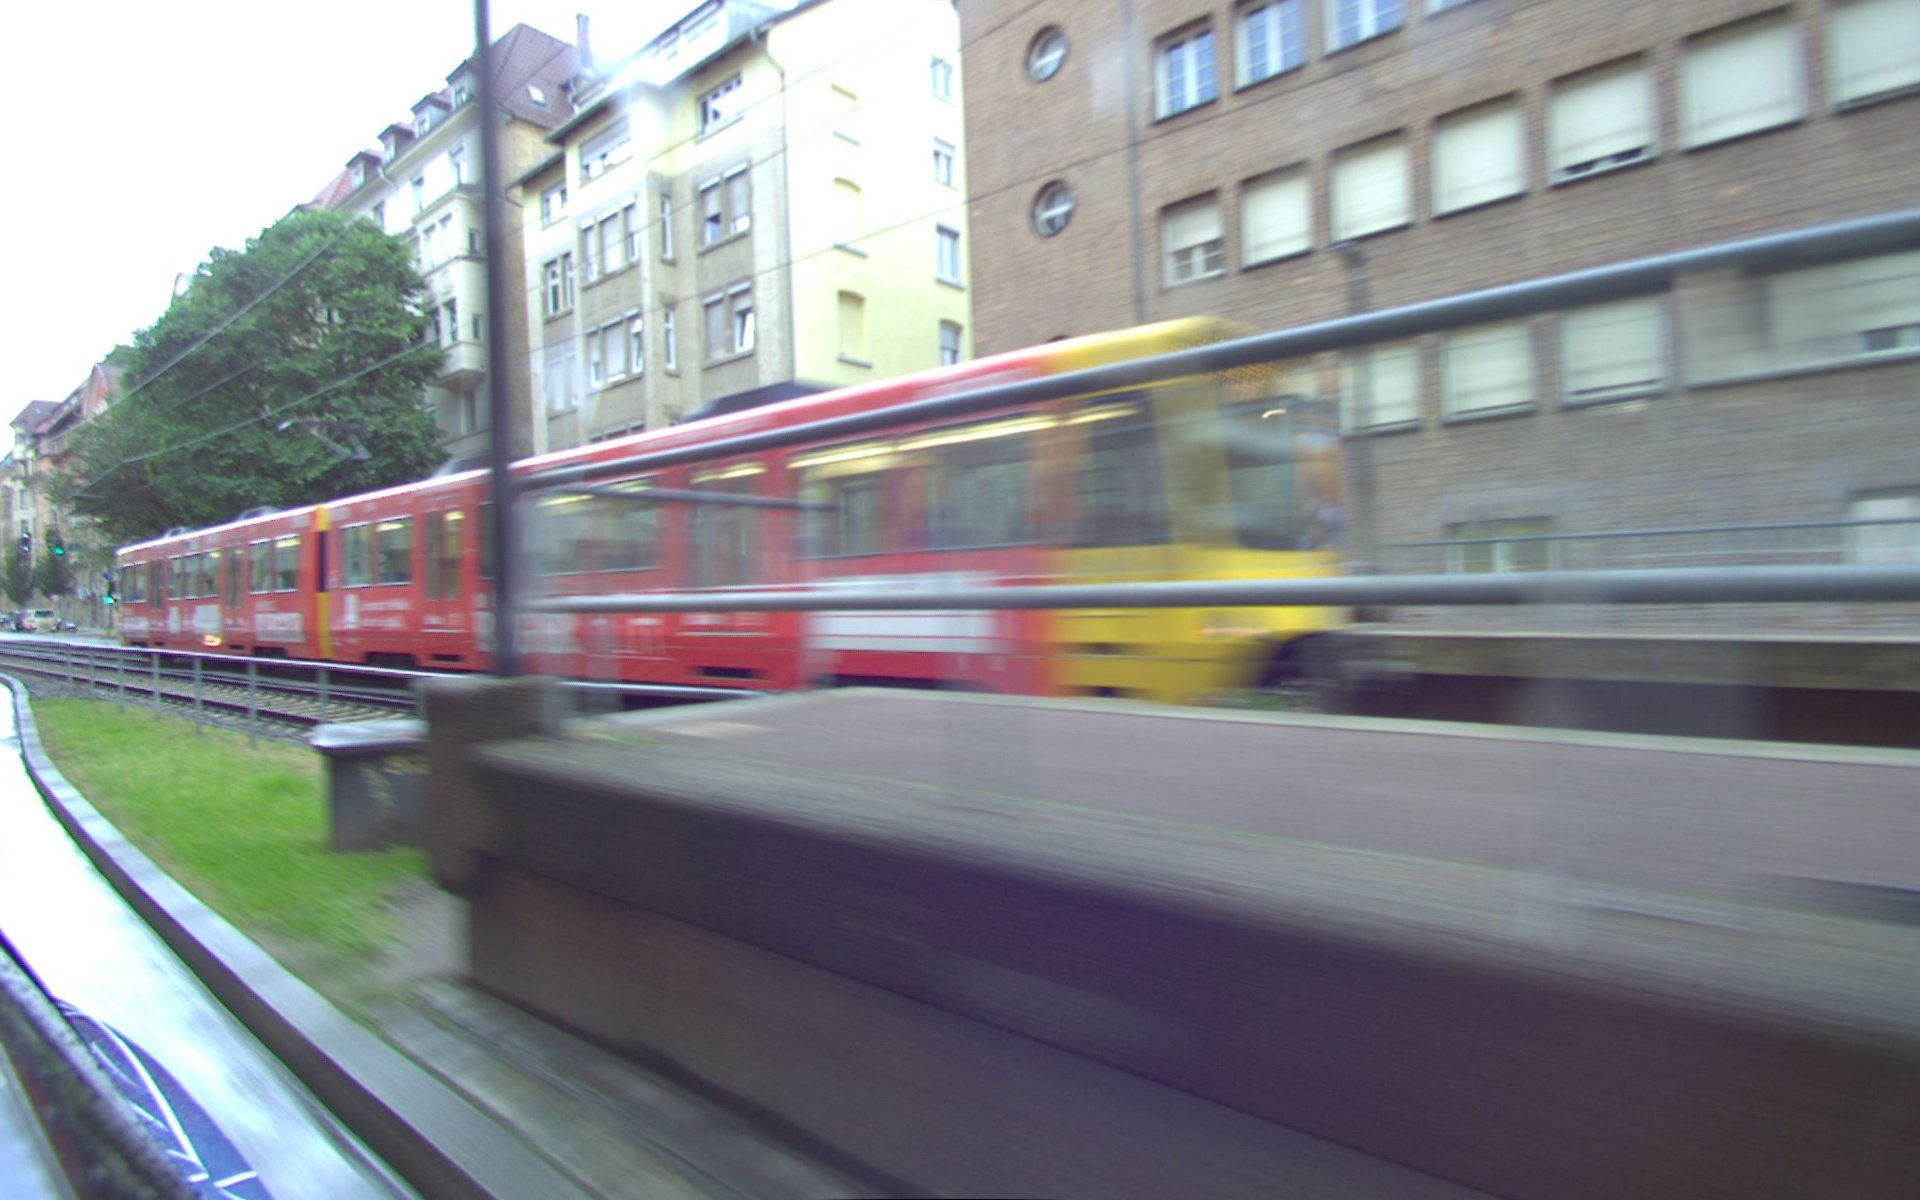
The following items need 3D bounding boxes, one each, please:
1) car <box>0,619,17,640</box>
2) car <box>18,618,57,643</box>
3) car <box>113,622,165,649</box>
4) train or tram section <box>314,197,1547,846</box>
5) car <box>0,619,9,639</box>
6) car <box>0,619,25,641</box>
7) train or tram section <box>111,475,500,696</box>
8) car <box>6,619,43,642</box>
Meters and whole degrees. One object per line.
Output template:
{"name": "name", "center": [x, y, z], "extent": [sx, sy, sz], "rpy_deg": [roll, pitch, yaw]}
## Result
{"name": "car", "center": [-93.231, 2.873, 98.255], "extent": [3.997, 1.984, 1.973], "rpy_deg": [-2, -1, 41]}
{"name": "car", "center": [-77.894, 2.578, 85.421], "extent": [3.997, 1.984, 1.973], "rpy_deg": [-2, -1, 41]}
{"name": "car", "center": [-49.092, 2.100, 60.499], "extent": [4.162, 1.501, 1.628], "rpy_deg": [-2, 0, 40]}
{"name": "train or tram section", "center": [-3.680, -0.353, 13.614], "extent": [19.847, 3.950, 2.687], "rpy_deg": [-1, 0, 40]}
{"name": "car", "center": [-96.830, 2.942, 101.303], "extent": [3.997, 1.984, 1.973], "rpy_deg": [-2, -1, 41]}
{"name": "car", "center": [-89.185, 2.796, 94.746], "extent": [3.997, 1.984, 1.973], "rpy_deg": [-2, -1, 41]}
{"name": "train or tram section", "center": [-17.431, -0.137, 25.400], "extent": [19.283, 3.950, 2.687], "rpy_deg": [-1, 0, 40]}
{"name": "car", "center": [-83.499, 2.685, 90.312], "extent": [3.997, 1.984, 1.973], "rpy_deg": [-2, -1, 41]}
